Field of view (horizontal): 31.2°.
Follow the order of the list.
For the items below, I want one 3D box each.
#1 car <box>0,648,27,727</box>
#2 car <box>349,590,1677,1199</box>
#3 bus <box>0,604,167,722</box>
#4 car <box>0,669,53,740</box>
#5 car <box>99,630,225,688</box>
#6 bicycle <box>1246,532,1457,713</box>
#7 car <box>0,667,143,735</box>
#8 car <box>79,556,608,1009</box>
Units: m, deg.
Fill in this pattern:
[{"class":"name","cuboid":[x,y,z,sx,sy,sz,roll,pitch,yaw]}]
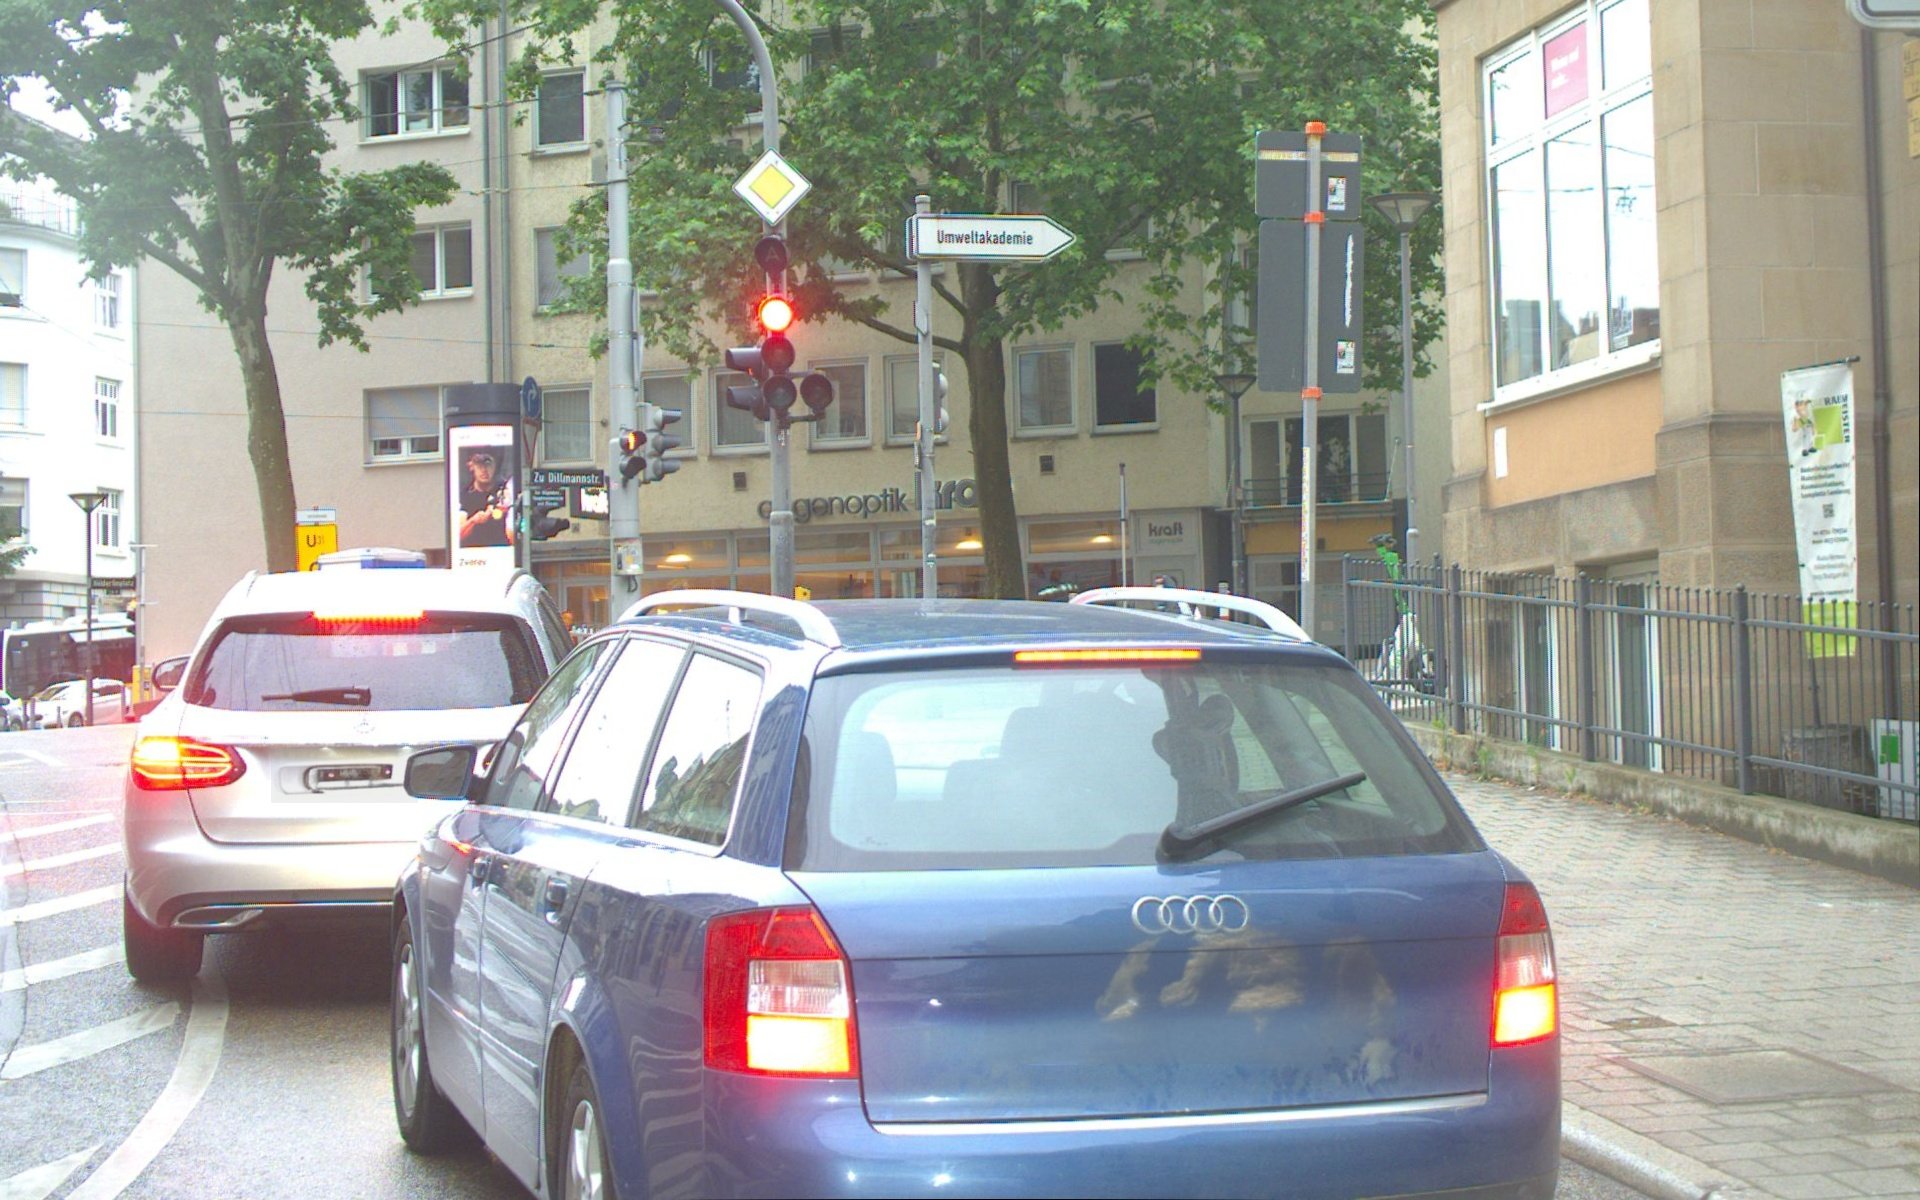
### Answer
[{"class":"car","cuboid":[-19.903,1.808,68.020,1.794,1.505,4.000,-4,1,-1]},{"class":"car","cuboid":[-0.212,0.719,7.379,1.710,1.410,4.037,0,1,-17]},{"class":"bus","cuboid":[-25.181,1.689,94.517,2.856,2.851,8.728,-1,1,14]},{"class":"car","cuboid":[-23.969,2.595,83.649,1.796,1.609,3.997,-1,1,17]},{"class":"car","cuboid":[-23.541,1.734,101.509,1.796,1.505,3.997,-1,1,17]},{"class":"bicycle","cuboid":[2.712,0.148,23.849,1.300,1.169,0.526,-3,1,-12]},{"class":"car","cuboid":[-22.886,2.582,88.437,1.796,1.505,3.997,-1,1,17]},{"class":"car","cuboid":[-2.254,0.570,13.057,1.710,1.451,3.554,0,1,-8]}]
